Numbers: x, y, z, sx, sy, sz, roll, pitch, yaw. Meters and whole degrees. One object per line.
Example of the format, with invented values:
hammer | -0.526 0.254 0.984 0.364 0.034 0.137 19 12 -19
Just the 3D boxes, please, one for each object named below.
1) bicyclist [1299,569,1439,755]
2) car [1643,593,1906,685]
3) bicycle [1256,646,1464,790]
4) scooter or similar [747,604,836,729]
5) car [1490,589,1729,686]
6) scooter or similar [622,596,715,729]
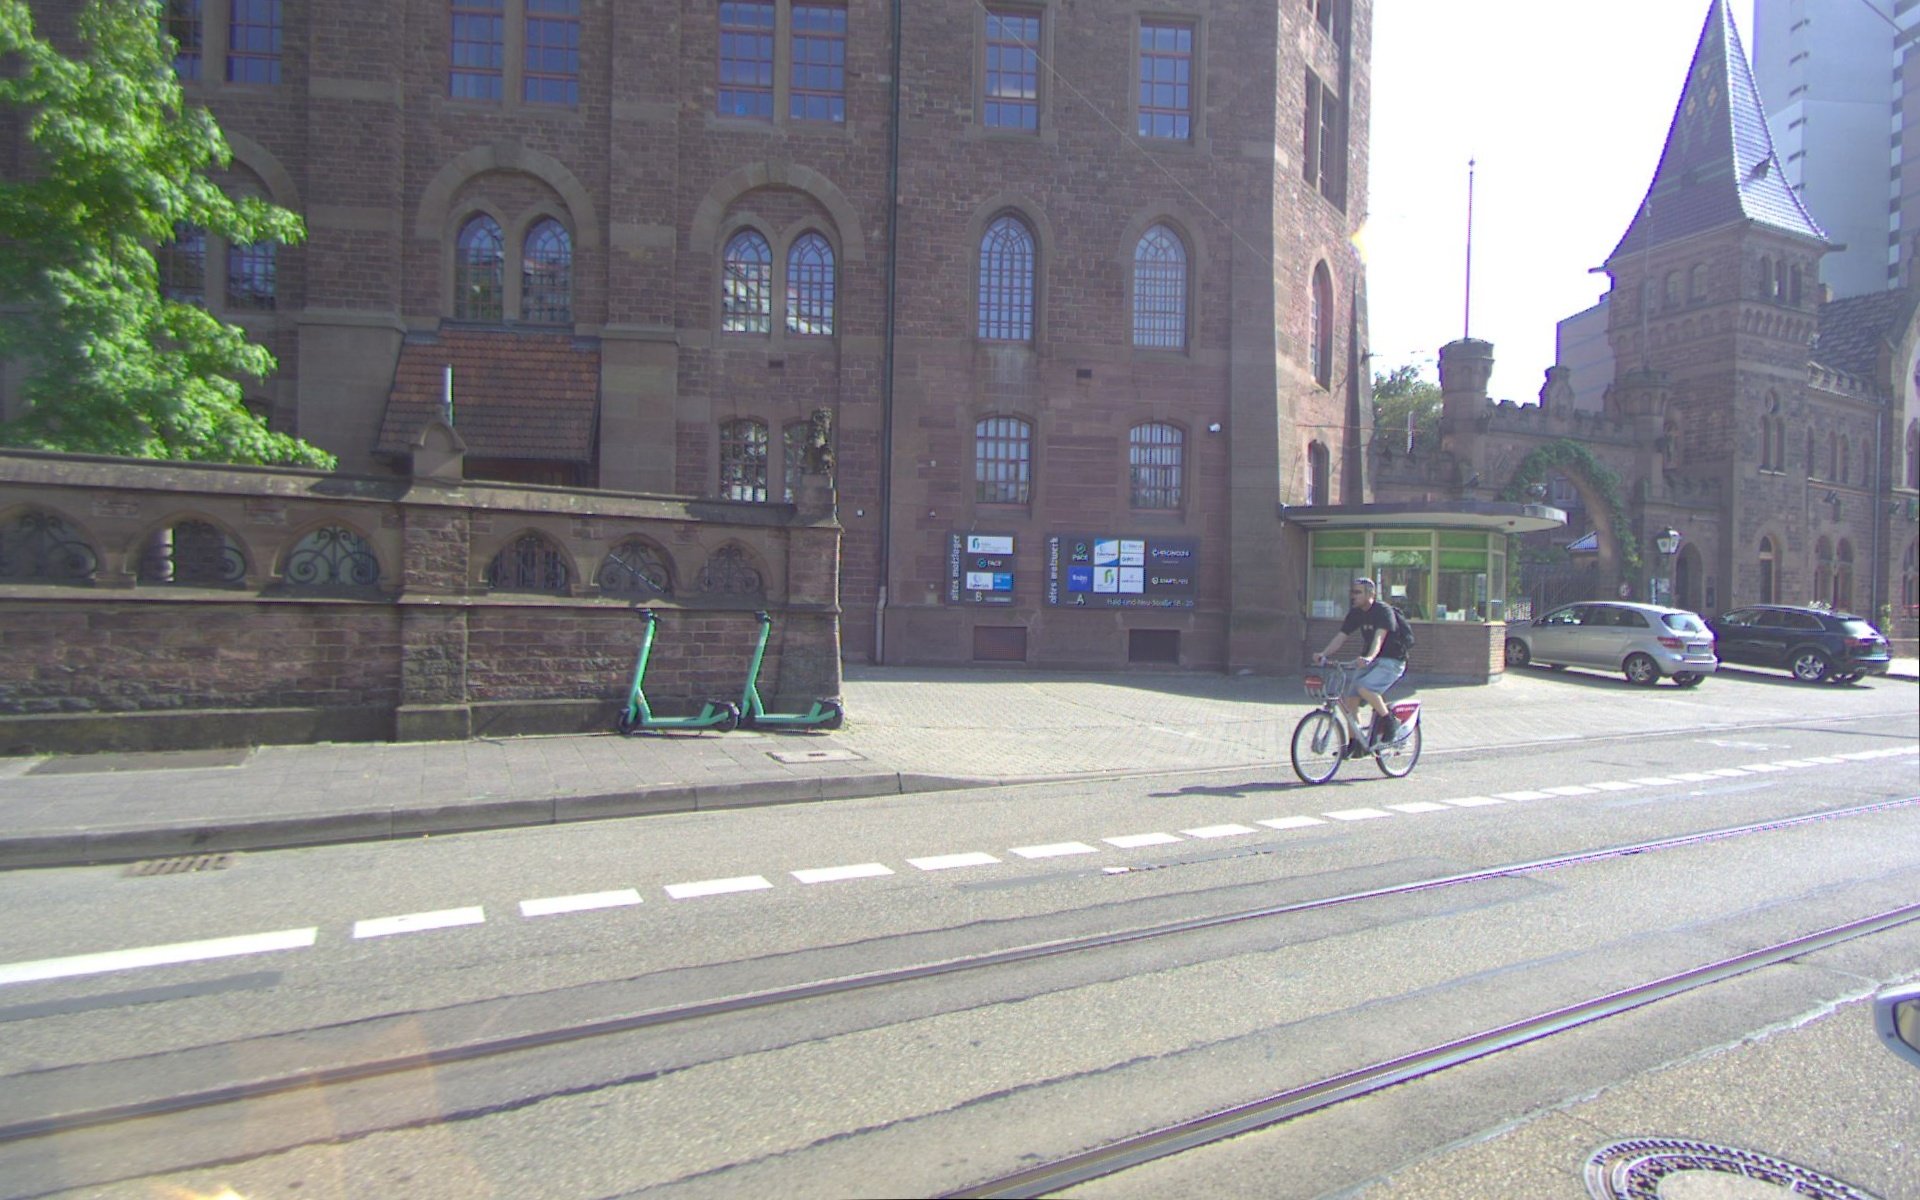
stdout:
bicyclist | 3.758 0.555 9.228 1.075 1.601 0.694 1 -2 -31
car | 19.161 0.842 23.871 1.934 1.668 4.374 1 4 -30
bicycle | 3.664 1.017 9.150 2.014 1.173 0.694 2 -2 -31
scooter or similar | -1.690 0.650 10.073 0.802 1.163 0.283 4 1 26
car | 13.834 0.731 21.644 1.798 1.617 3.886 1 4 -25
scooter or similar | -2.750 0.572 9.472 0.802 1.163 0.283 4 1 26
